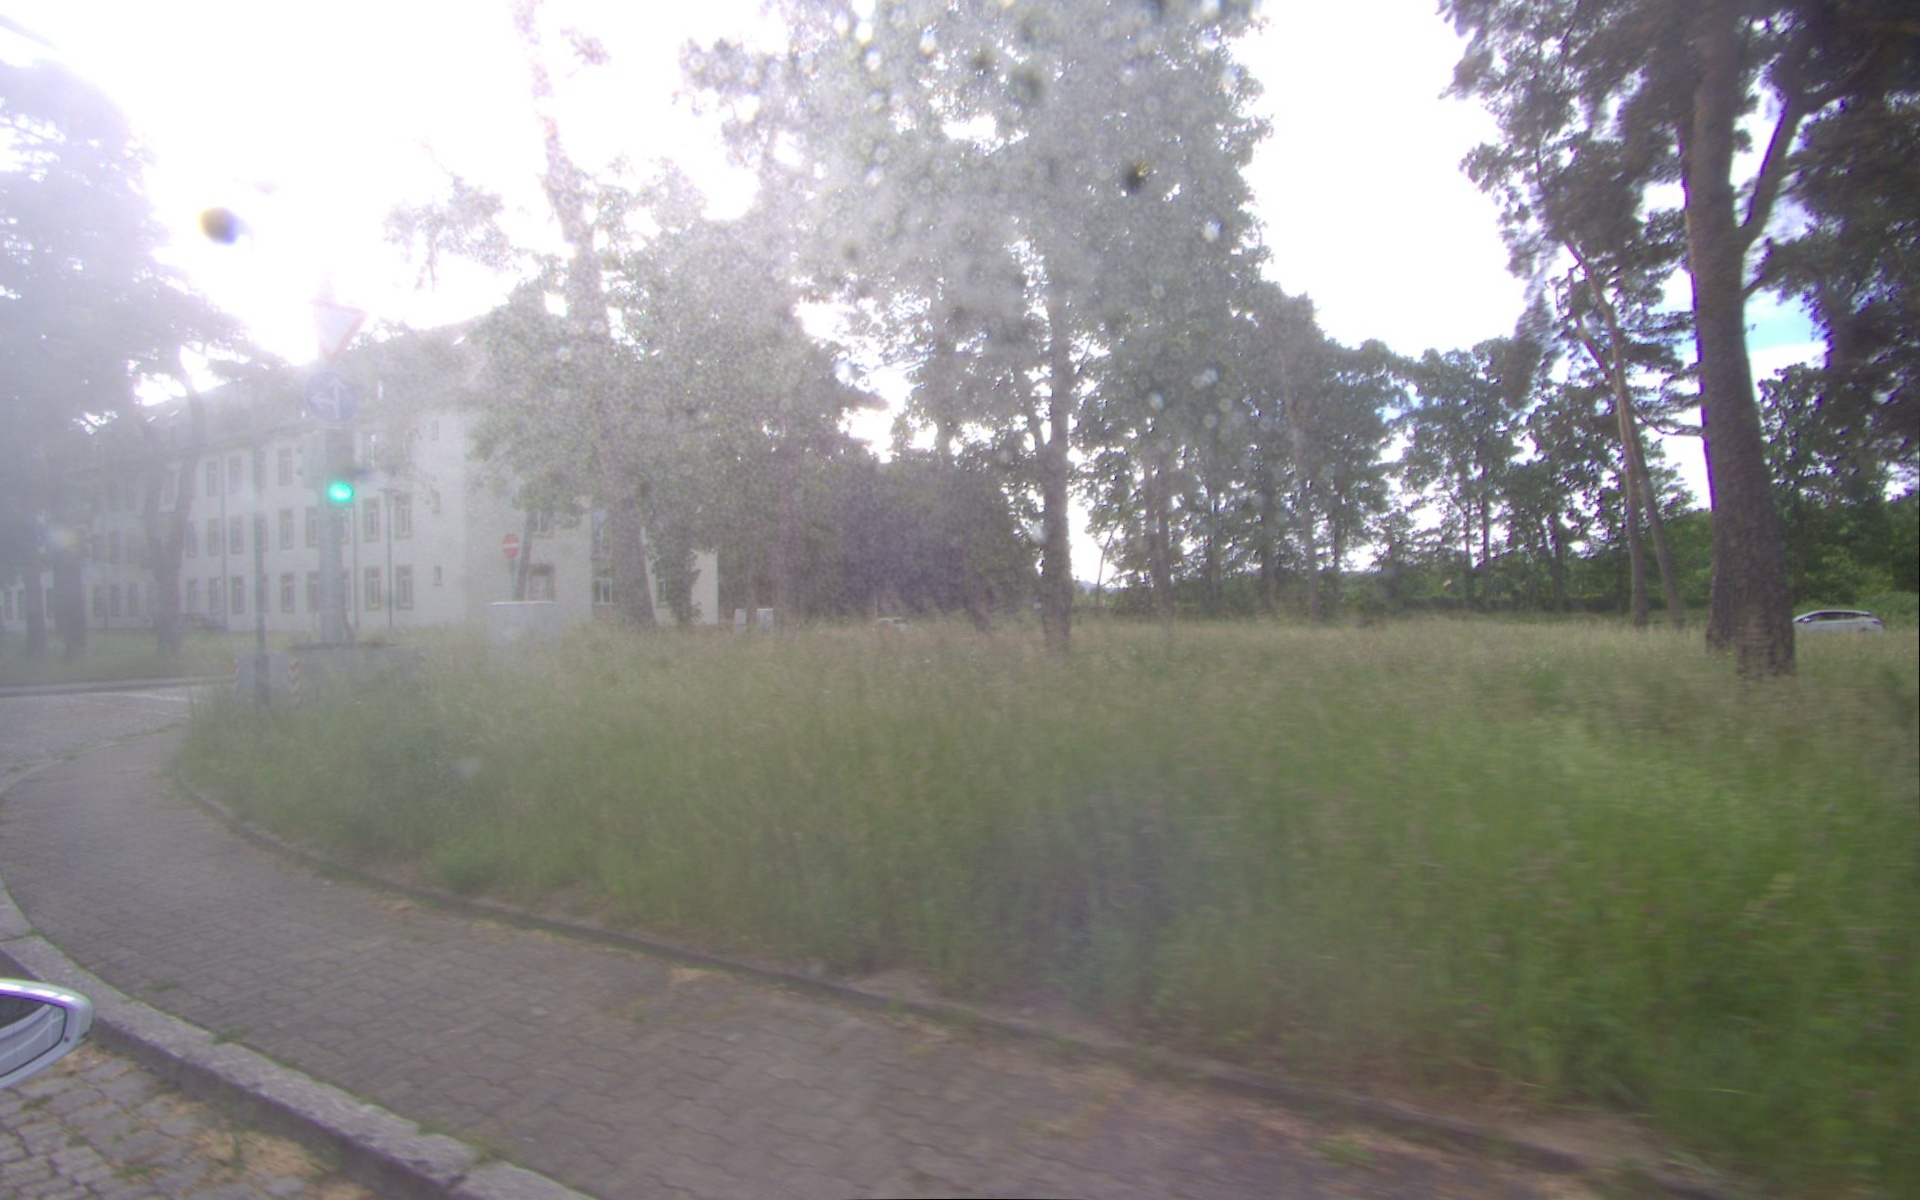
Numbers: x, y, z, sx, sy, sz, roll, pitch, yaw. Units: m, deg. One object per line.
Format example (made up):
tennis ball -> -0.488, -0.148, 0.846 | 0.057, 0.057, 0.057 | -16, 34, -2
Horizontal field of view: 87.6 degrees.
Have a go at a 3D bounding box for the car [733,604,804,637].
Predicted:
car -> -14.103, 1.518, 73.907 | 2.182, 2.318, 5.170 | -1, -1, 33

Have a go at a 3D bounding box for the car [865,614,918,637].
car -> -4.677, 1.745, 68.941 | 1.972, 1.527, 3.475 | -1, -1, 32

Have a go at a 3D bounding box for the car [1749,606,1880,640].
car -> 37.660, 1.042, 44.304 | 4.200, 1.434, 1.877 | -1, -1, 35
